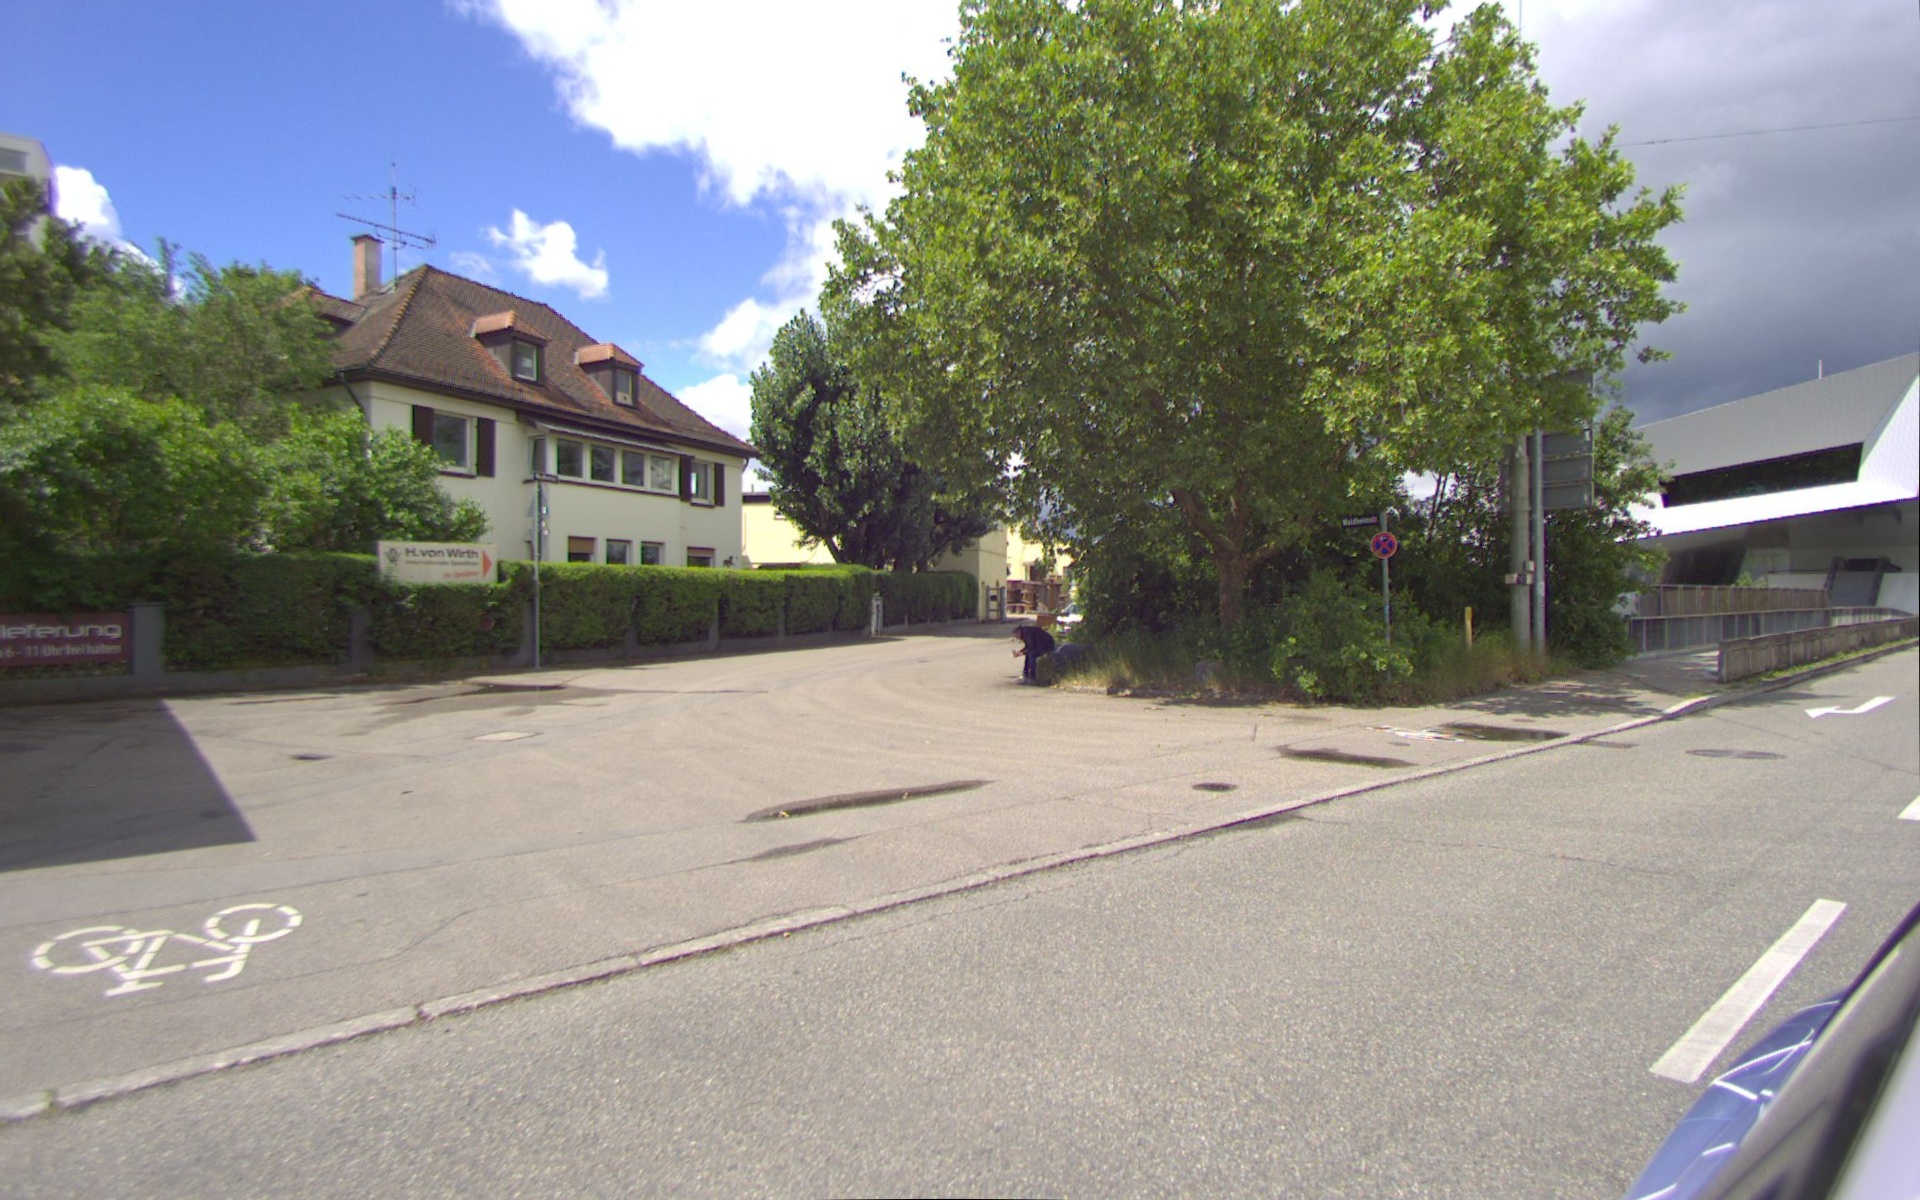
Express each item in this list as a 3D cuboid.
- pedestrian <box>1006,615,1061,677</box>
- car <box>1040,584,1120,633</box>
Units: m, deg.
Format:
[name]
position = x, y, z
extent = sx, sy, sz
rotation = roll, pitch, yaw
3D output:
[pedestrian]
position = 1.549, 0.957, 21.425
extent = 0.945, 1.264, 0.888
rotation = 0, 0, -12
[car]
position = 4.980, 0.292, 41.567
extent = 1.980, 1.740, 4.077
rotation = 4, 4, 25
